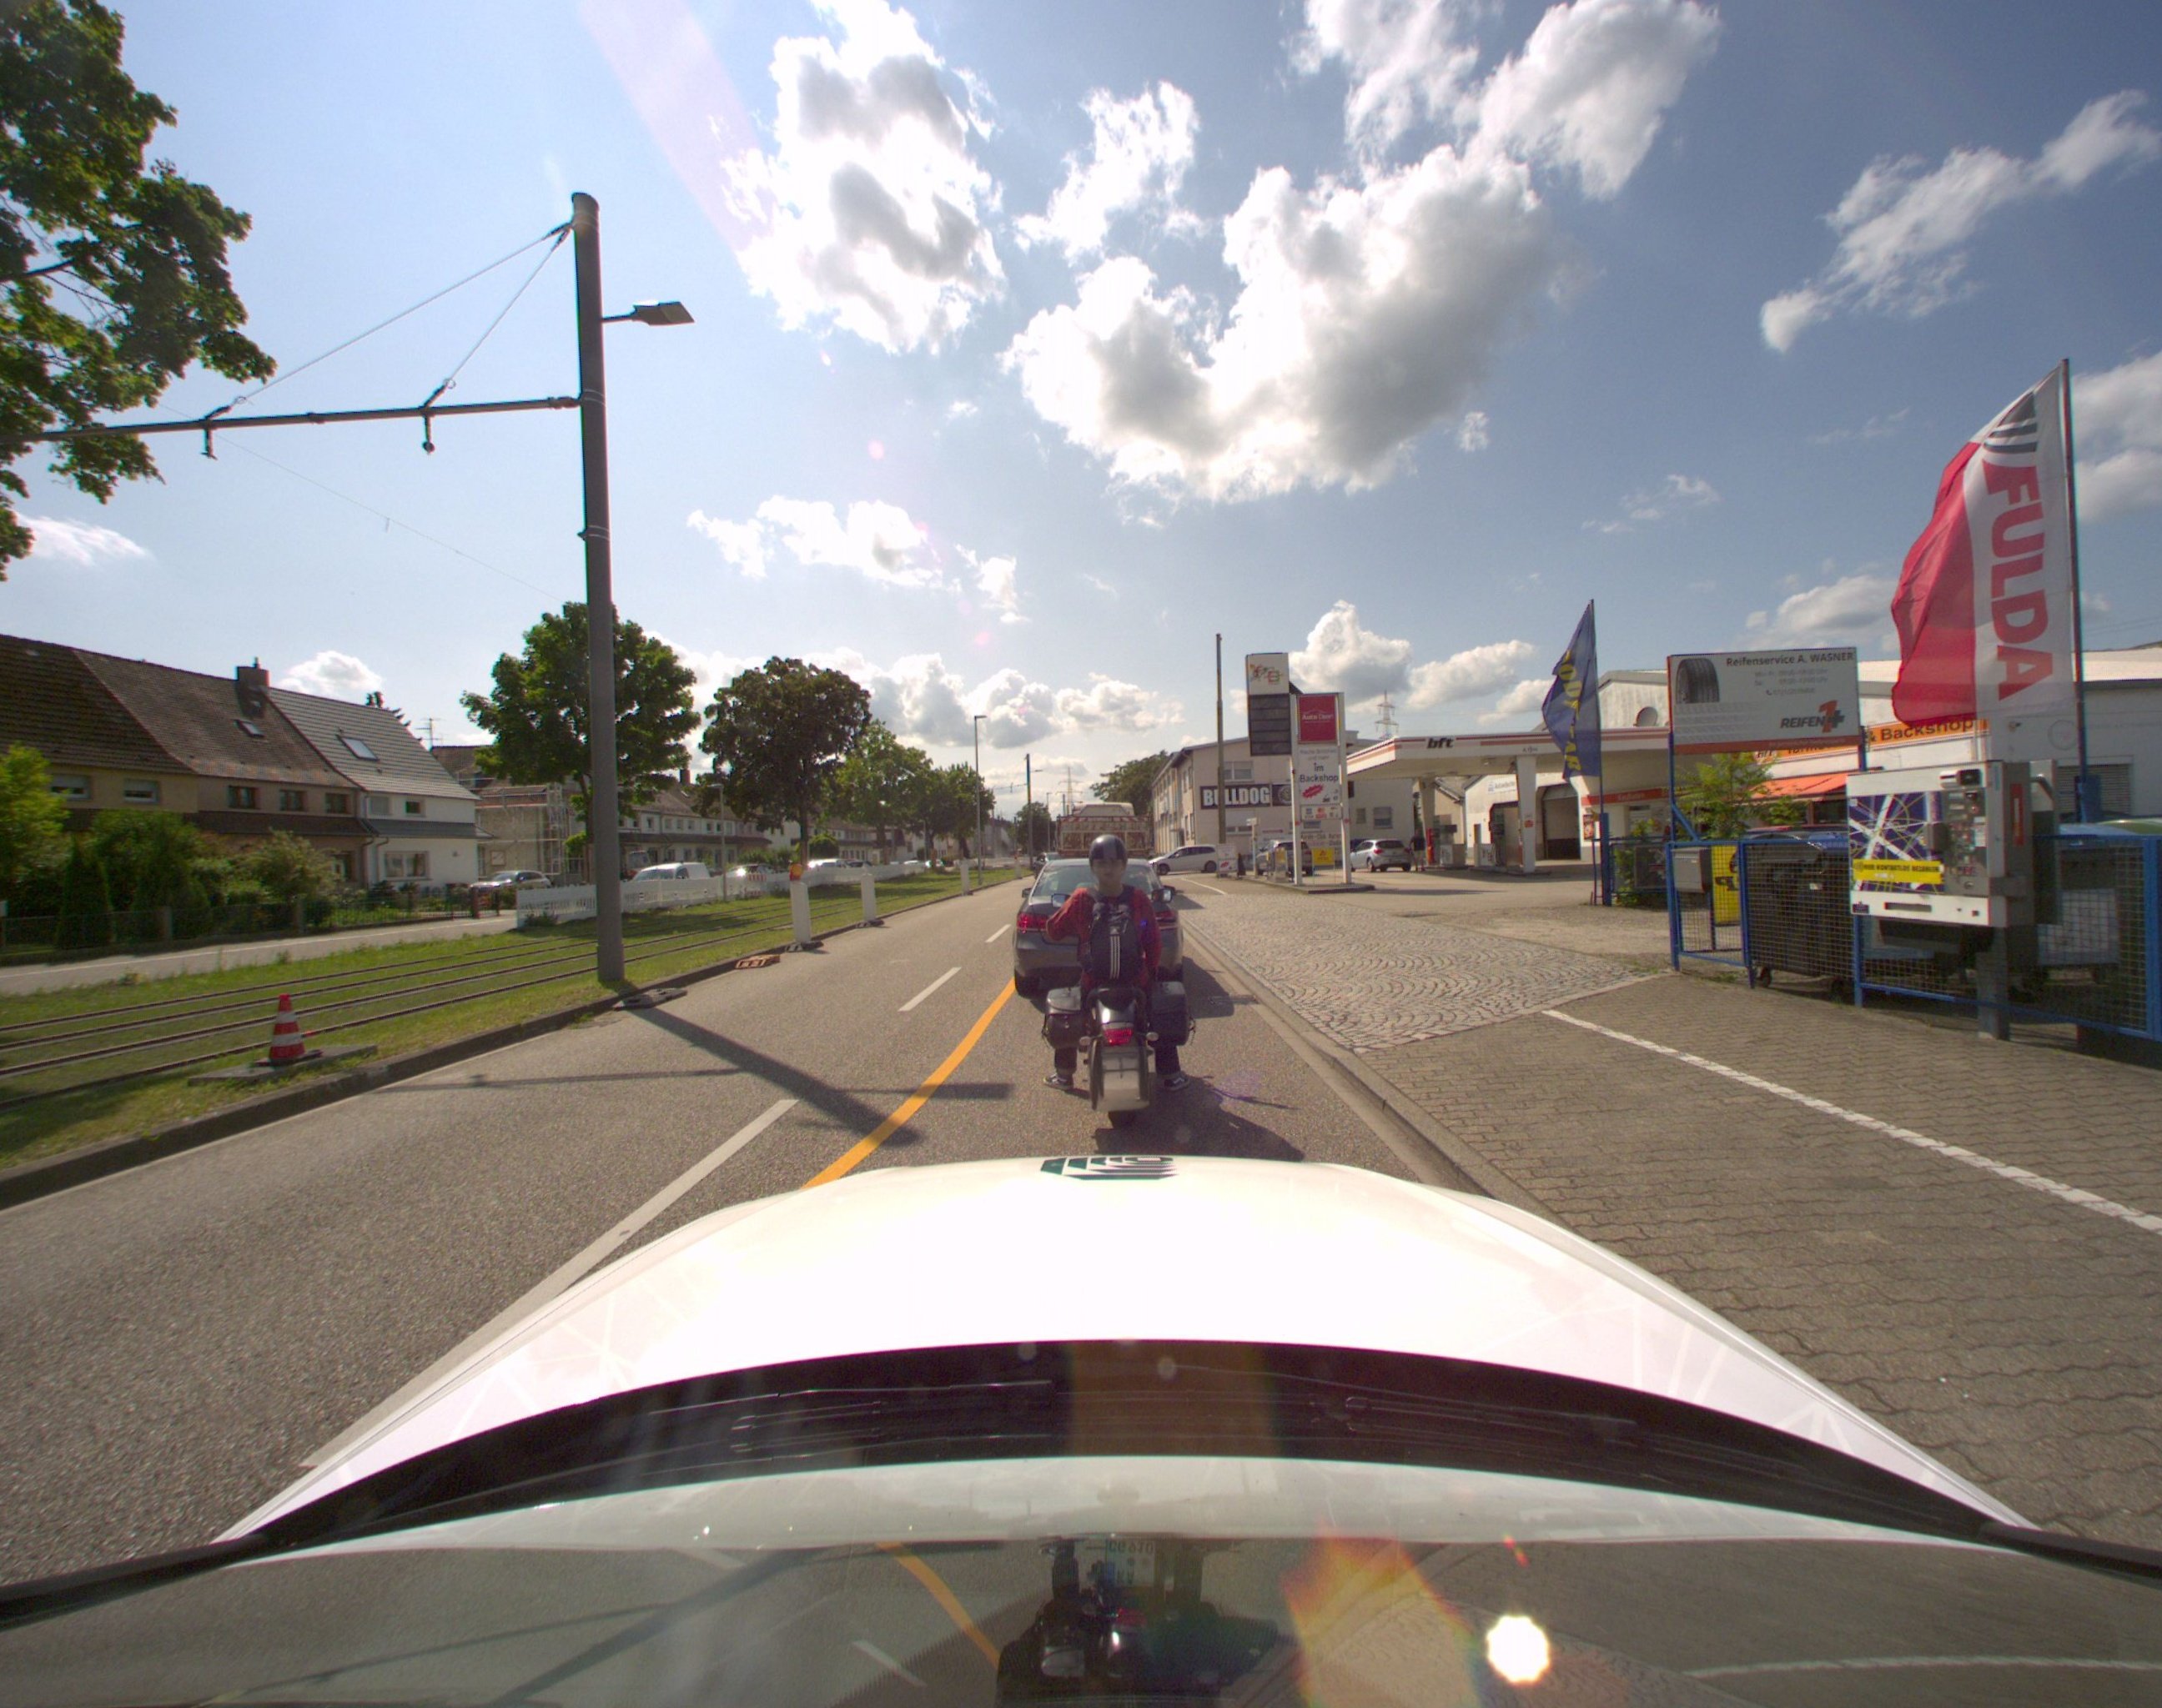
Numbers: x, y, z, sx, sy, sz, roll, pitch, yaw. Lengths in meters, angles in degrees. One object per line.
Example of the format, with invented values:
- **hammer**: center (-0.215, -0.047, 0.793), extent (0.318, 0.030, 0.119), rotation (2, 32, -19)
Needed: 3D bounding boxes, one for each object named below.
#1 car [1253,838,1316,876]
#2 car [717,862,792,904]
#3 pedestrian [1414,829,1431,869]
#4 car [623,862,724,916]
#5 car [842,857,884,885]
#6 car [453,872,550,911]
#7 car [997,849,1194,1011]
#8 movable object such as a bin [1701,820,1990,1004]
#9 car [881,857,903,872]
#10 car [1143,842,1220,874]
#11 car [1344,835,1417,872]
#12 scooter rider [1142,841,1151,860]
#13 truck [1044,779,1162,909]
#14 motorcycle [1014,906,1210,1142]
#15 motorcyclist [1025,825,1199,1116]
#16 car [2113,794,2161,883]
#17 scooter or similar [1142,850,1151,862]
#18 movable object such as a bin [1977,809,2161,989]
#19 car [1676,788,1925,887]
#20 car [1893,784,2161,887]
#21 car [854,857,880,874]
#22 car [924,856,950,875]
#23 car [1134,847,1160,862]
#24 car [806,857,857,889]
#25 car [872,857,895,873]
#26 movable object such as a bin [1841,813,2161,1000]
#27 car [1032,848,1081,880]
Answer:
- **car**: center (9.065, 0.121, 36.579), extent (1.826, 1.536, 4.009), rotation (-3, 0, 1)
- **car**: center (-15.329, 1.324, 38.487), extent (1.692, 1.739, 4.056), rotation (-2, 0, 2)
- **pedestrian**: center (14.839, -0.211, 35.391), extent (0.628, 1.683, 0.626), rotation (-2, 0, 23)
- **car**: center (-15.421, 1.277, 31.057), extent (1.692, 1.817, 3.862), rotation (-2, 0, 2)
- **car**: center (-14.872, 1.138, 55.759), extent (1.692, 1.739, 3.862), rotation (-2, 0, 2)
- **car**: center (-27.482, 1.730, 38.793), extent (1.692, 1.593, 3.862), rotation (-2, 0, 2)
- **car**: center (0.169, 0.721, 9.843), extent (1.826, 1.479, 4.009), rotation (-3, 0, 1)
- **movable object such as a bin**: center (6.823, 0.470, 7.406), extent (1.222, 1.454, 1.455), rotation (-2, 0, 0)
- **car**: center (-24.386, 1.339, 105.365), extent (1.692, 1.739, 4.064), rotation (-2, 0, 2)
- **car**: center (5.762, 0.226, 47.051), extent (4.101, 1.624, 1.682), rotation (-3, 0, -7)
- **car**: center (13.535, -0.024, 37.071), extent (1.826, 1.479, 4.009), rotation (-3, 0, 1)
- **scooter rider**: center (6.366, -0.333, 79.455), extent (0.792, 1.818, 0.508), rotation (-2, 0, 1)
- **truck**: center (0.640, -0.282, 25.606), extent (2.960, 3.304, 8.407), rotation (-2, 0, 1)
- **motorcycle**: center (0.194, 0.932, 5.315), extent (0.972, 1.013, 2.433), rotation (-1, 0, 2)
- **motorcyclist**: center (0.193, 0.654, 5.197), extent (0.966, 1.633, 1.215), rotation (-1, 0, 1)
- **car**: center (26.350, -0.434, 18.189), extent (3.972, 2.013, 2.001), rotation (-2, 0, 1)
- **scooter or similar**: center (6.391, 0.218, 79.500), extent (0.792, 1.144, 1.520), rotation (-2, 0, 2)
- **movable object such as a bin**: center (9.448, 0.335, 7.193), extent (1.425, 1.454, 1.455), rotation (-2, 0, 0)
- **car**: center (16.600, -0.372, 18.964), extent (3.972, 2.013, 2.001), rotation (-2, 0, 1)
- **car**: center (21.247, -0.401, 18.272), extent (3.972, 2.013, 2.001), rotation (-2, 0, 1)
- **car**: center (-24.471, 1.298, 93.139), extent (1.692, 1.739, 4.064), rotation (-2, 0, 2)
- **car**: center (-14.124, 1.146, 80.251), extent (1.692, 1.739, 3.862), rotation (-2, 0, 2)
- **car**: center (8.503, 0.081, 105.233), extent (1.918, 1.787, 4.048), rotation (-2, 0, -20)
- **car**: center (-15.096, 1.110, 49.392), extent (1.692, 1.739, 3.862), rotation (-2, 0, 2)
- **car**: center (-24.056, 1.332, 99.341), extent (1.692, 1.739, 4.064), rotation (-2, 0, 2)
- **movable object such as a bin**: center (8.103, 0.416, 7.282), extent (1.222, 1.454, 1.455), rotation (-2, 0, 0)
- **car**: center (-1.418, 0.566, 46.197), extent (1.685, 1.624, 4.094), rotation (-2, 0, -18)
